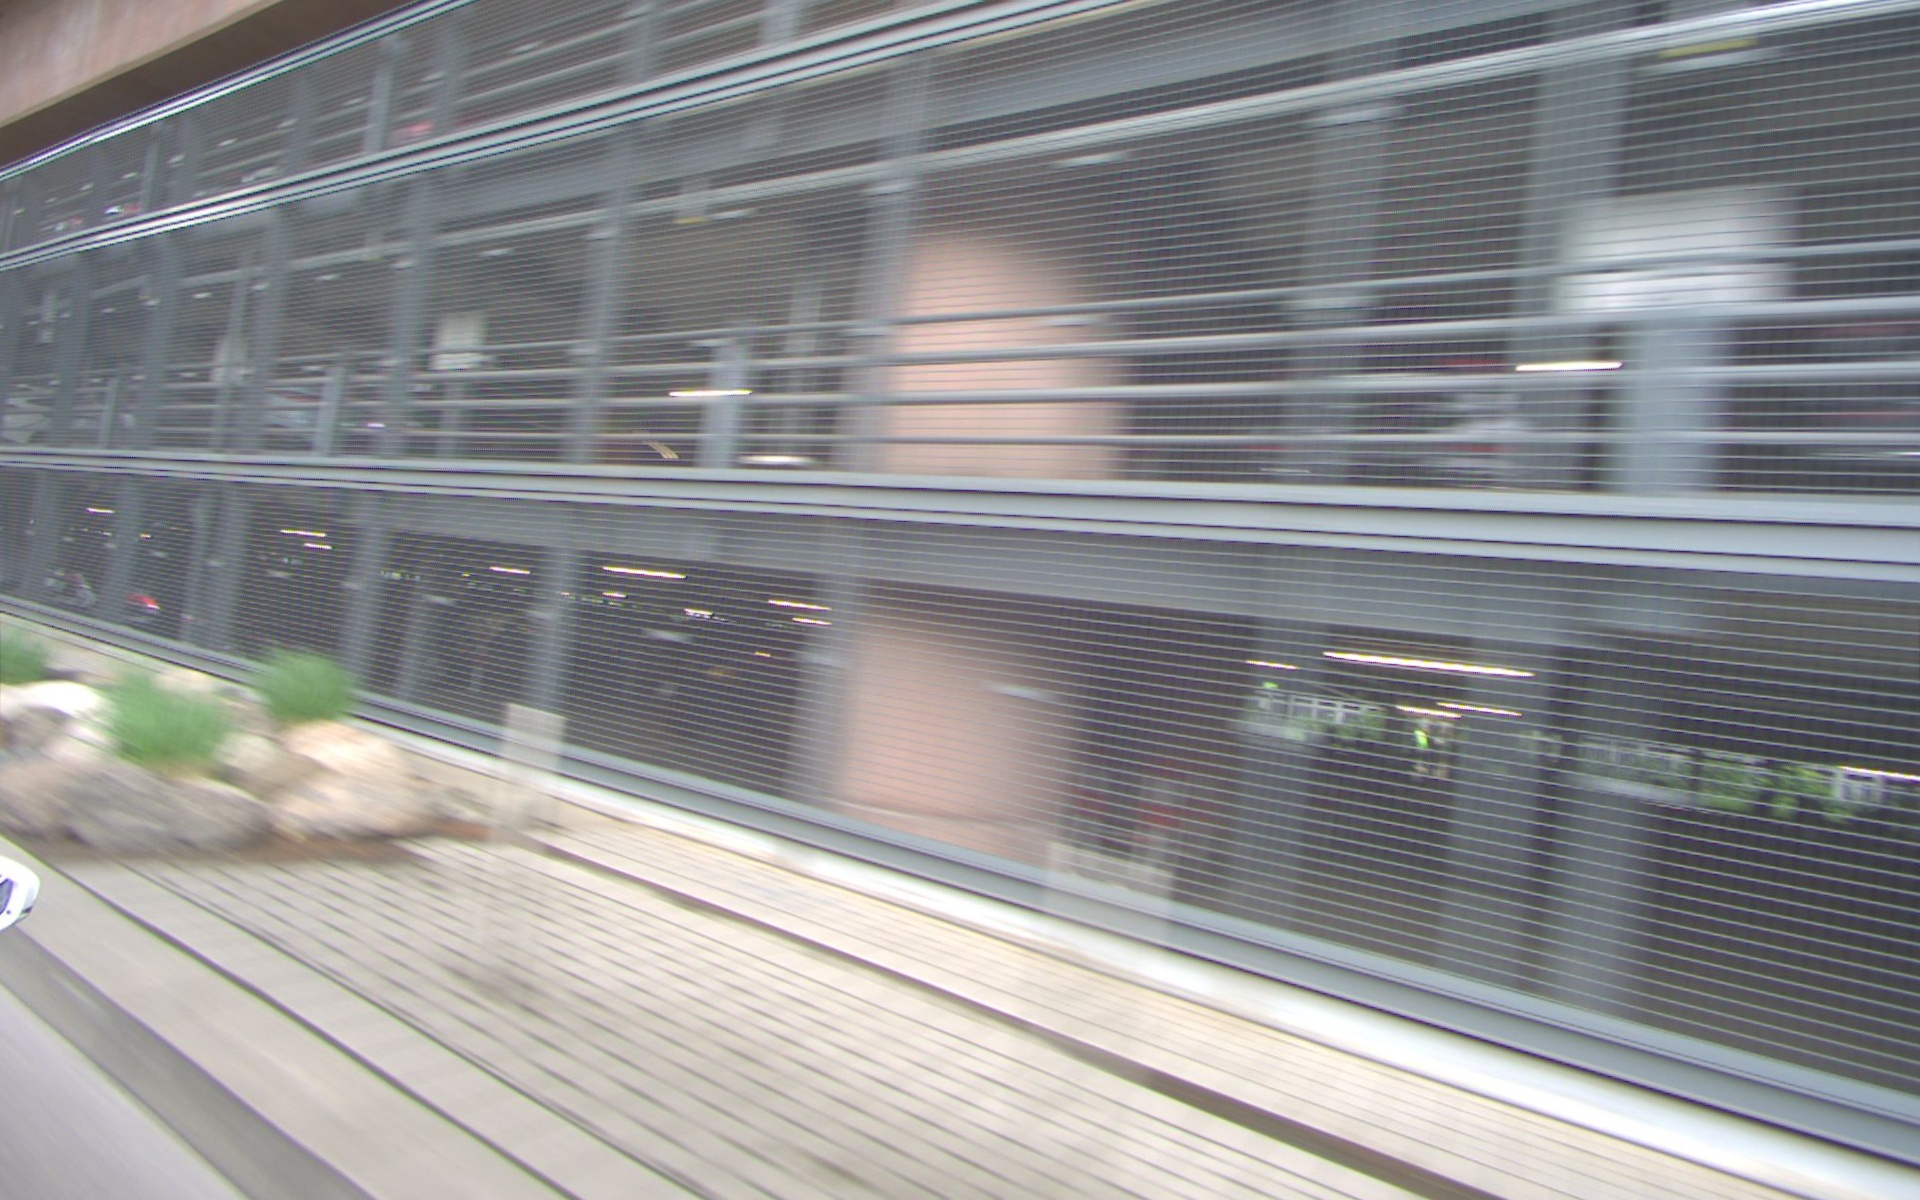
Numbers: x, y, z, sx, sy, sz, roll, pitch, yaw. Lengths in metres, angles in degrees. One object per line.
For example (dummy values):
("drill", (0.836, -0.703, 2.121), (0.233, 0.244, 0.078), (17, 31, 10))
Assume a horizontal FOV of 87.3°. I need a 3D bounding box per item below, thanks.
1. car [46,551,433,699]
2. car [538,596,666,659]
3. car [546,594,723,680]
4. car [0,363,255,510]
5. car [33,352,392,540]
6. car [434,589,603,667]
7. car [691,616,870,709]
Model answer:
("car", (-10.063, 0.448, 14.391), (1.780, 1.482, 3.999), (7, -4, 31))
("car", (-12.107, 0.952, 34.198), (1.791, 1.554, 3.652), (7, -4, 31))
("car", (-8.345, 1.025, 26.110), (1.804, 1.632, 3.999), (7, -4, 31))
("car", (-15.623, -2.927, 18.355), (1.802, 1.676, 3.995), (8, -3, 33))
("car", (-11.464, -2.278, 15.734), (1.702, 1.888, 3.996), (8, -2, 32))
("car", (-12.550, 0.844, 28.827), (1.694, 1.632, 3.998), (7, -4, 32))
("car", (-4.022, 1.501, 23.217), (1.693, 1.632, 3.999), (7, -4, 31))
